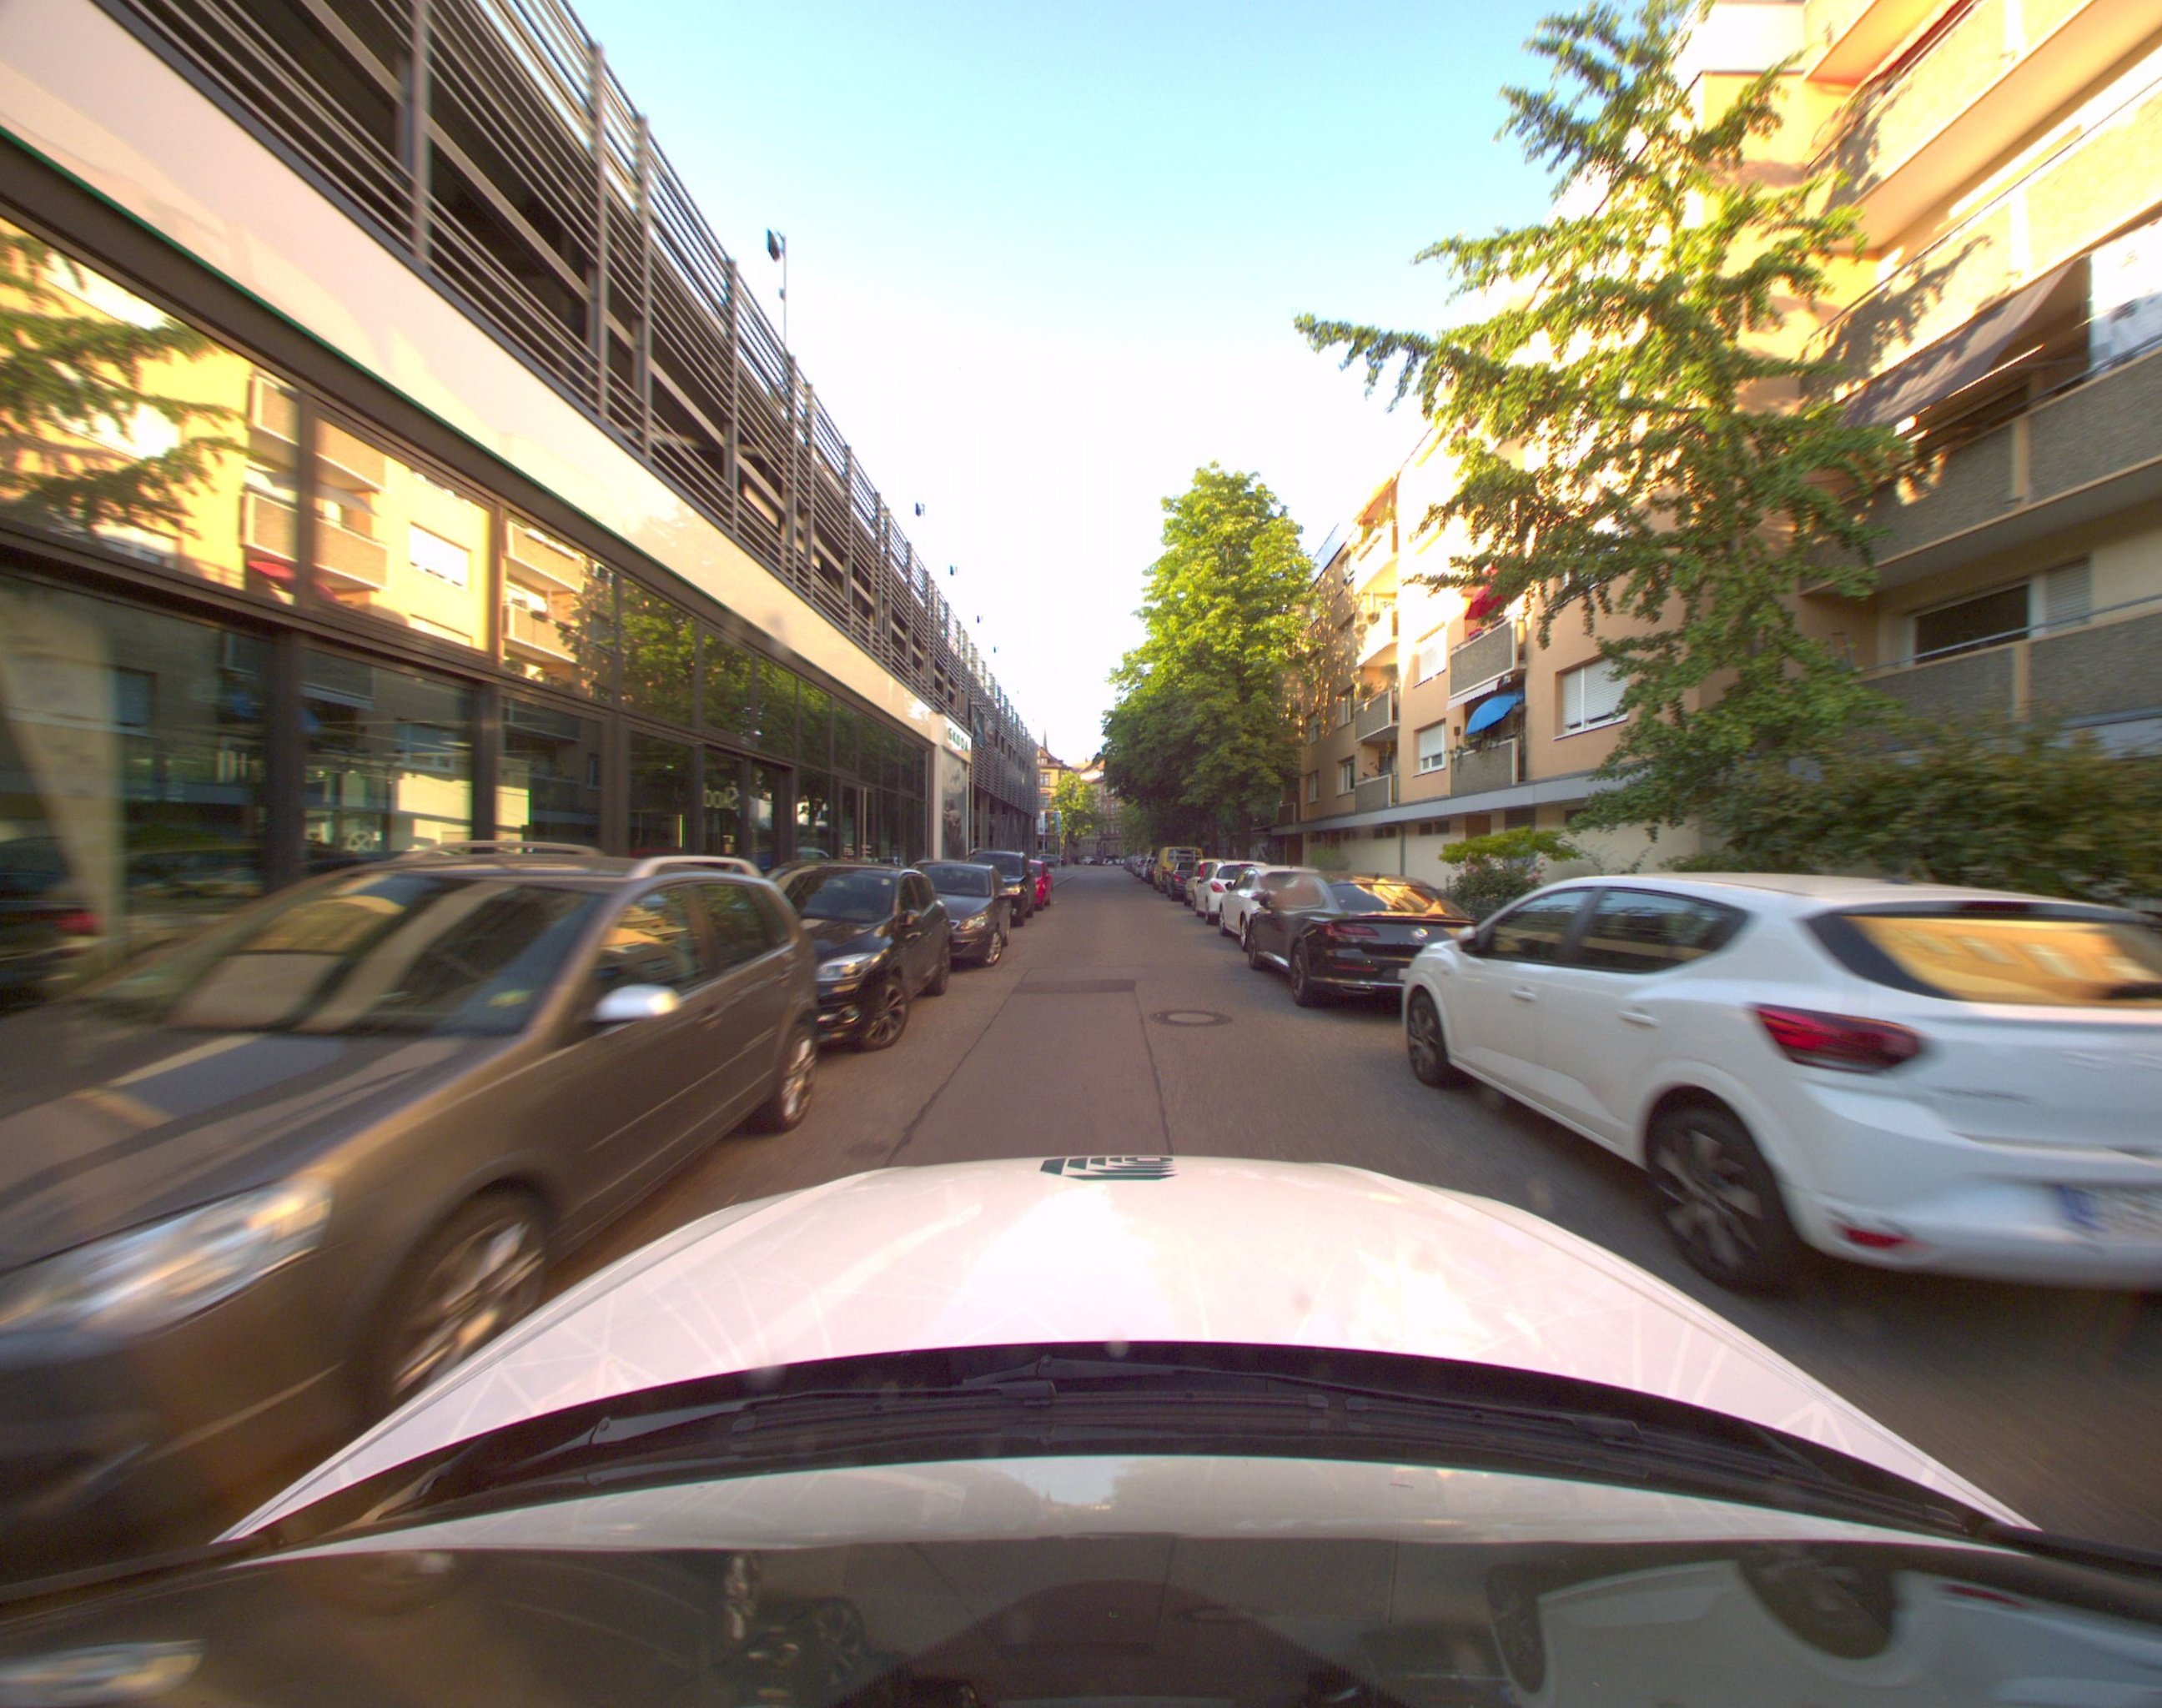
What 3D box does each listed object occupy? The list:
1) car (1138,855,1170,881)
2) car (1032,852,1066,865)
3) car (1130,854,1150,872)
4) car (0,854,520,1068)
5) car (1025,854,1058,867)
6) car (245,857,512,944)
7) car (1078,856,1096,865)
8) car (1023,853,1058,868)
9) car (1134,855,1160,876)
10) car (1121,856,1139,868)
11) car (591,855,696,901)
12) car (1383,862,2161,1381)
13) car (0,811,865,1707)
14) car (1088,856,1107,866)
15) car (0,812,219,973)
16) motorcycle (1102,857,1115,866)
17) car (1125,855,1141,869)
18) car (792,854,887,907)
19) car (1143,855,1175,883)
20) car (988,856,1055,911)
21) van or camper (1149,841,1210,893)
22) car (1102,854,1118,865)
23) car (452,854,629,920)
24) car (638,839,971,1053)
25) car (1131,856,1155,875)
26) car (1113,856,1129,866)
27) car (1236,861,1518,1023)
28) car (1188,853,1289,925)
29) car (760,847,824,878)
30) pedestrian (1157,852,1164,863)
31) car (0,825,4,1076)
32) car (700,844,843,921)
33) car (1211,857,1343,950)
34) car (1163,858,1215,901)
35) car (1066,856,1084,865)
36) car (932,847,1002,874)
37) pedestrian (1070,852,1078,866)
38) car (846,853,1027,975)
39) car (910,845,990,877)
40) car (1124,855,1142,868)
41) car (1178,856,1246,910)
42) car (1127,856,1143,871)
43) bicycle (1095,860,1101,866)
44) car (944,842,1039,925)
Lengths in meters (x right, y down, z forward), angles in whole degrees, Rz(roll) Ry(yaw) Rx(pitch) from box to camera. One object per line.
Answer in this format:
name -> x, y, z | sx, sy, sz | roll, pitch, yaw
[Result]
car -> 4.535, 0.854, 51.044 | 1.716, 1.519, 4.027 | 0, 1, 1
car -> -4.672, 0.631, 118.717 | 4.821, 1.732, 1.917 | 1, 1, -5
car -> 5.559, 0.822, 77.238 | 1.753, 1.604, 3.875 | 0, 0, 1
car -> -7.823, 0.772, 7.962 | 1.691, 1.514, 4.193 | 0, 0, 1
car -> -4.990, 0.776, 103.138 | 4.054, 1.618, 1.765 | 0, 1, -1
car -> -13.272, 0.804, 15.757 | 1.691, 1.434, 3.921 | 0, 0, 1
car -> 0.939, 1.077, 134.363 | 1.660, 1.431, 4.139 | 1, 1, -21
car -> -4.979, 0.751, 99.762 | 4.117, 1.618, 1.913 | 2, 1, -1
car -> 4.919, 0.854, 61.396 | 1.753, 1.442, 4.007 | 0, 1, 1
car -> 5.912, 0.943, 98.280 | 1.691, 1.477, 4.208 | 0, 0, -3
car -> -13.344, 0.698, 25.042 | 1.414, 1.255, 3.216 | 0, 1, 2
car -> 3.149, 0.779, 4.265 | 1.803, 1.416, 3.897 | 0, 0, 2
car -> -2.383, 0.695, 3.396 | 1.655, 1.497, 3.887 | 5, 0, 2
car -> 2.615, 1.071, 129.887 | 1.661, 1.431, 3.961 | 1, 1, -22
car -> -13.084, 0.434, 9.556 | 1.691, 1.816, 3.921 | 0, 0, 1
motorcycle -> 4.243, 1.133, 126.680 | 1.931, 1.340, 0.575 | 0, 0, -9
car -> 5.684, 0.907, 89.350 | 1.689, 1.477, 4.118 | 0, 0, 1
car -> -7.266, 0.761, 24.915 | 1.691, 1.473, 3.782 | 0, 0, 1
car -> 4.355, 0.818, 45.762 | 1.557, 1.450, 3.454 | 0, 1, 1
car -> -1.757, 0.843, 24.985 | 1.691, 1.506, 3.792 | 0, 0, 1
van or camper -> 4.175, 0.486, 35.397 | 2.057, 2.096, 5.091 | 0, 1, 0
car -> 4.947, 0.866, 138.451 | 1.682, 1.782, 2.992 | 1, 0, -23
car -> -13.166, 0.740, 20.165 | 1.691, 1.434, 3.921 | 0, 0, 1
car -> -2.282, 0.661, 7.936 | 1.723, 1.402, 4.006 | 5, 0, 0
car -> 5.003, 0.926, 66.387 | 1.753, 1.454, 4.394 | 0, 1, 1
car -> 6.590, 1.115, 134.961 | 1.682, 1.525, 2.746 | 1, 0, -23
car -> 3.142, 0.825, 9.746 | 1.803, 1.416, 4.627 | 0, 0, 1
car -> 3.754, 0.772, 20.095 | 1.785, 1.562, 4.195 | 0, 0, 1
car -> -12.440, 0.316, 35.254 | 1.414, 1.255, 3.528 | 0, 1, 2
pedestrian -> 12.571, 0.559, 129.204 | 0.843, 1.804, 0.771 | 0, 0, -19
car -> -7.959, 0.650, 3.451 | 1.587, 1.650, 3.877 | 0, 0, 1
car -> -7.303, 0.604, 19.737 | 1.691, 1.658, 4.411 | 0, 0, 1
car -> 3.503, 0.814, 15.239 | 1.604, 1.461, 4.055 | 0, 0, 1
car -> 3.911, 0.896, 30.072 | 1.600, 1.381, 4.003 | 0, 1, 3
car -> -1.029, 1.090, 138.902 | 1.661, 1.431, 3.867 | 1, 1, -23
car -> -7.228, 0.421, 51.846 | 4.086, 1.684, 1.861 | 0, 1, 2
pedestrian -> -0.957, 0.694, 108.048 | 0.737, 1.804, 1.115 | 0, 1, -19
car -> -2.096, 0.805, 13.108 | 1.929, 1.596, 4.209 | 0, 1, 3
car -> -7.169, 0.372, 44.697 | 4.010, 1.684, 1.861 | 0, 1, 2
car -> 5.989, 0.903, 93.869 | 1.690, 1.477, 3.557 | 0, 0, -2
car -> 3.950, 0.840, 25.002 | 1.604, 1.510, 3.479 | 0, 0, 1
car -> 5.606, 0.947, 84.688 | 1.591, 1.477, 3.775 | 0, 0, 1
bicycle -> 2.547, 1.329, 124.542 | 0.421, 0.822, 1.470 | 0, 1, 23
car -> -2.028, 0.619, 19.596 | 1.691, 1.756, 4.404 | 0, 0, 1
